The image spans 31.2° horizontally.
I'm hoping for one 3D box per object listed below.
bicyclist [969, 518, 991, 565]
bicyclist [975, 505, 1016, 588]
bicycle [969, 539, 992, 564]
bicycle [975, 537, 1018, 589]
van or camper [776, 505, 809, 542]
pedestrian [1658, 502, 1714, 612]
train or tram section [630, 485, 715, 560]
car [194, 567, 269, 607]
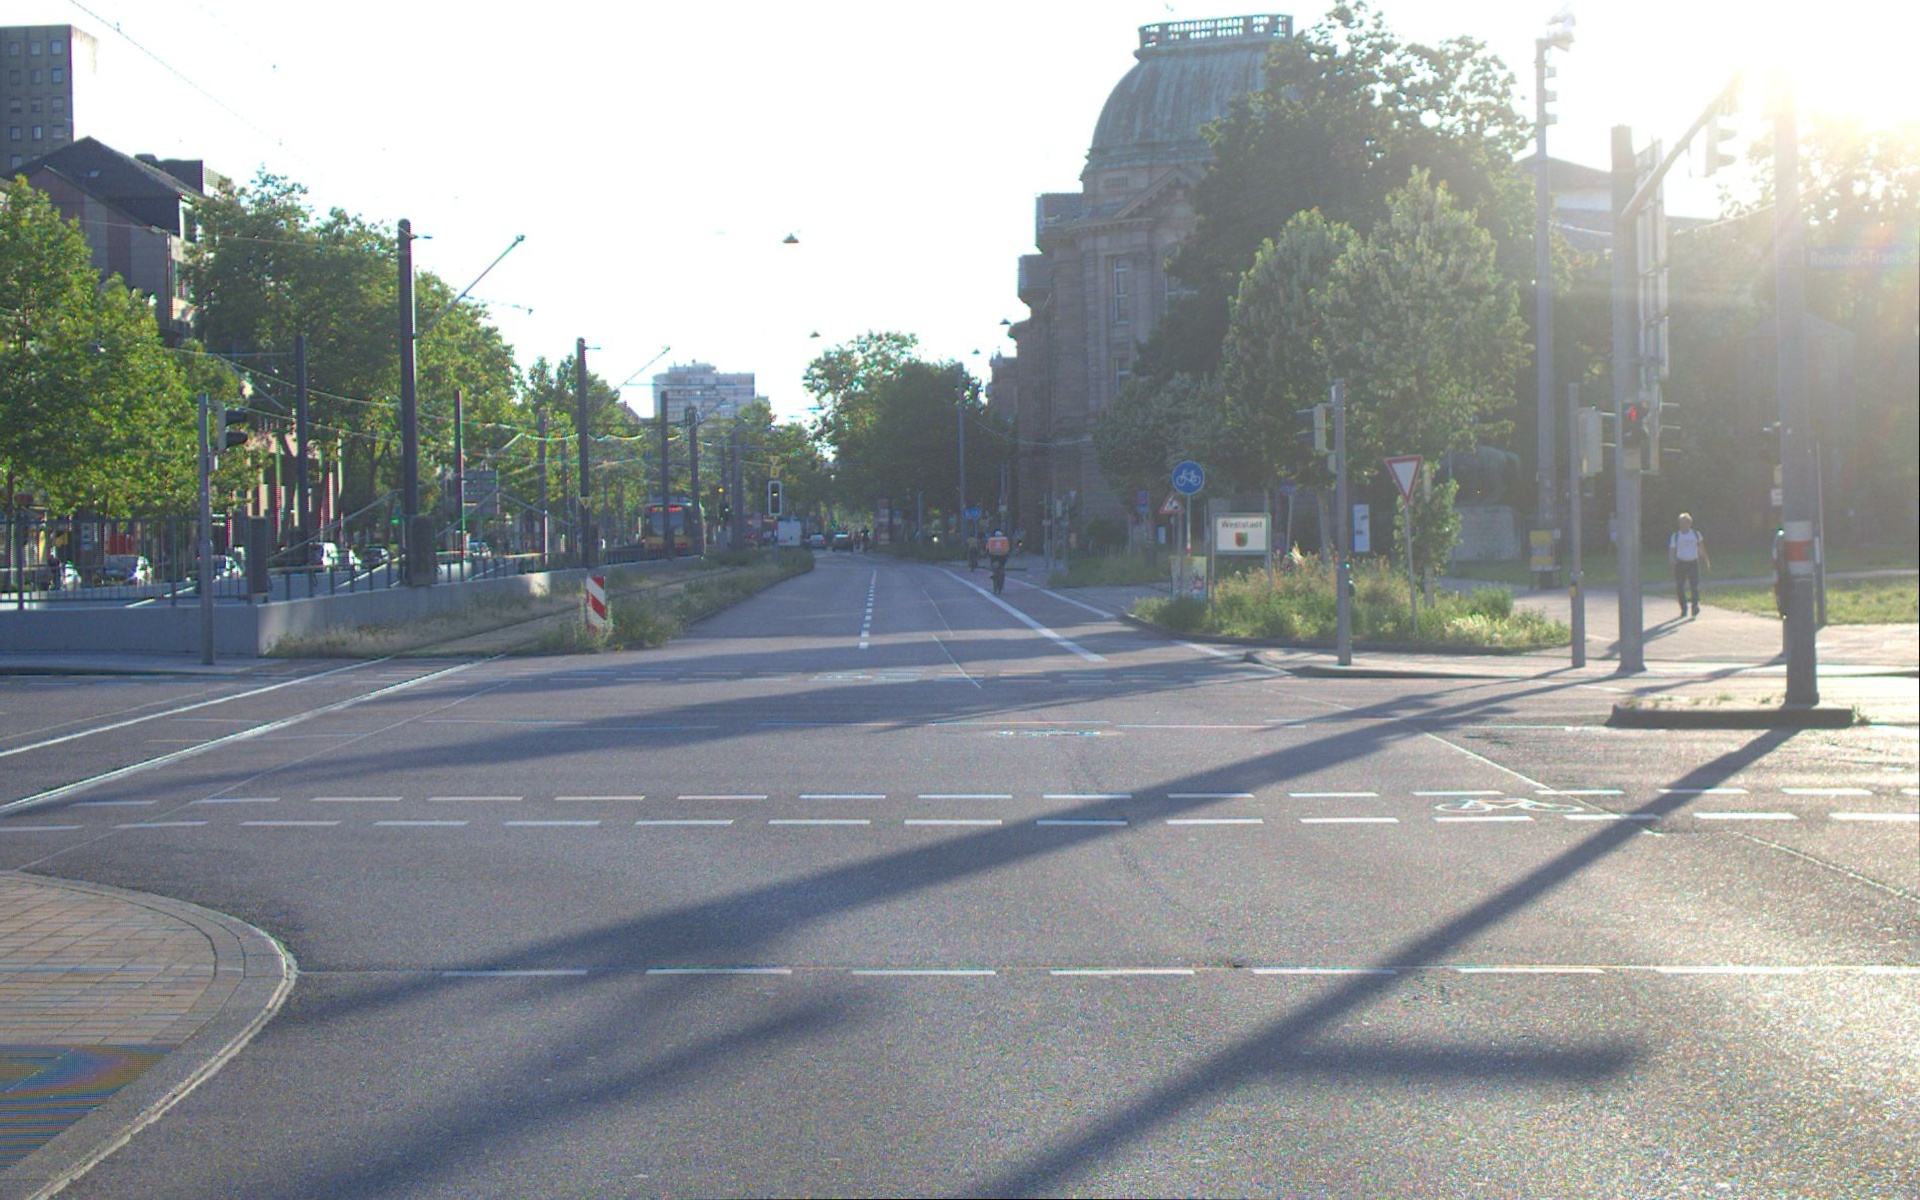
[{"bbox_3d":[0.872,-2.558,150.315,0.925,2.007,0.850,-1,1,-1],"label":"bicyclist"},{"bbox_3d":[0.969,-1.462,94.076,1.082,2.268,0.986,0,1,-1],"label":"bicyclist"},{"bbox_3d":[0.895,-2.129,150.380,0.924,1.108,2.333,-1,1,-1],"label":"bicycle"},{"bbox_3d":[0.983,-1.026,94.071,1.098,1.394,2.832,-1,1,-1],"label":"bicycle"},{"bbox_3d":[-12.754,-5.813,261.835,2.449,2.761,5.601,-1,1,-2],"label":"van or camper"},{"bbox_3d":[12.013,-0.715,56.883,0.833,1.797,0.810,-1,1,15],"label":"pedestrian"},{"bbox_3d":[-15.500,-4.180,185.682,4.385,3.837,11.412,-1,1,-5],"label":"train or tram section"},{"bbox_3d":[-27.975,-0.506,132.198,1.819,1.415,4.000,-1,1,3],"label":"car"}]
